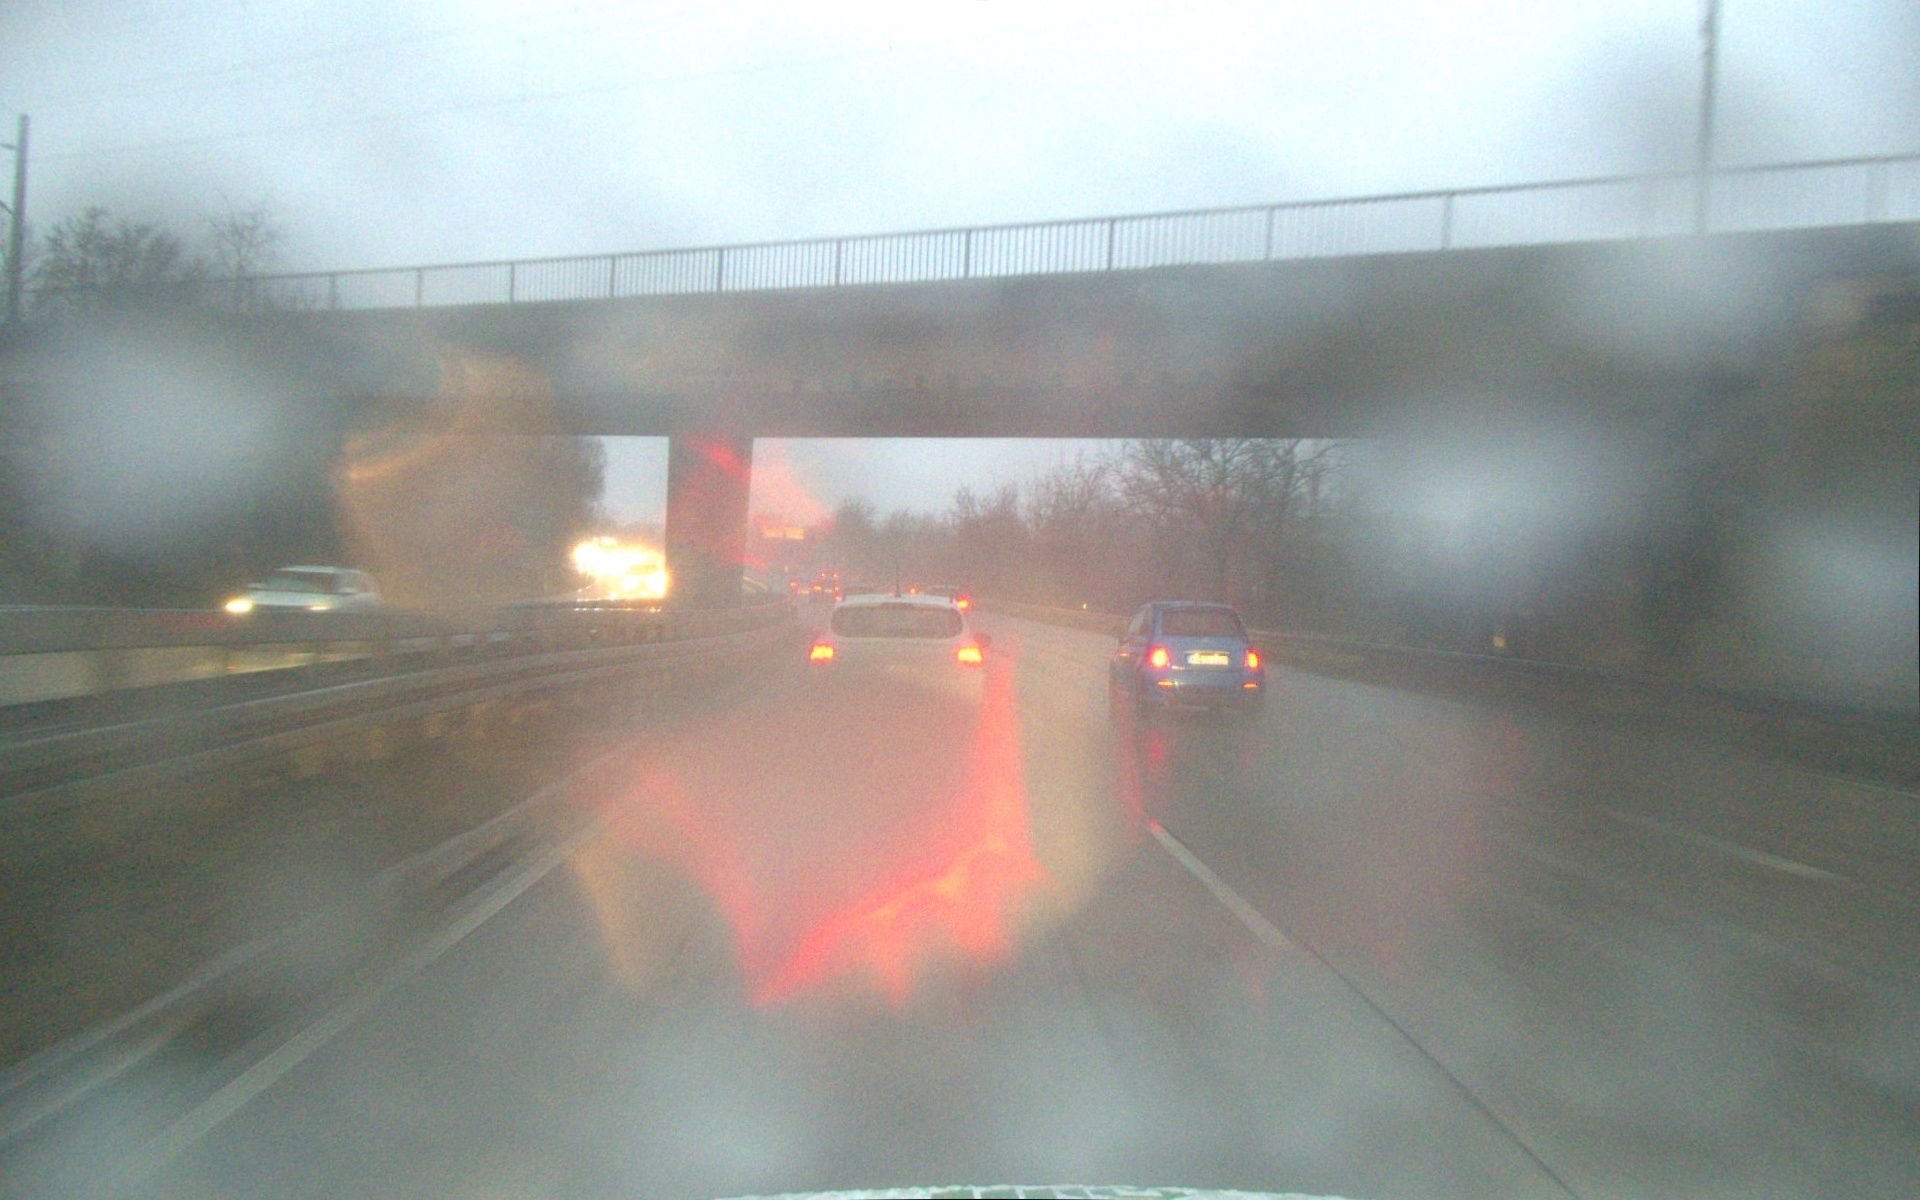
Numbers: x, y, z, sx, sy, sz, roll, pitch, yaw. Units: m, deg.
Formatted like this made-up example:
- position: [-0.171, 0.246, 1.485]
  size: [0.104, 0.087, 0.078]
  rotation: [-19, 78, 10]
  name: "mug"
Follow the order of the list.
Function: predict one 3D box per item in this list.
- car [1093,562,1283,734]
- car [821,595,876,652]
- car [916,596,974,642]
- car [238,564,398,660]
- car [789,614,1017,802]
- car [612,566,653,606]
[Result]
- position: [3.015, 0.637, 22.622]
  size: [1.894, 2.055, 3.771]
  rotation: [3, -1, -2]
  name: "car"
- position: [-4.283, 0.918, 63.805]
  size: [1.954, 2.049, 3.997]
  rotation: [3, -1, -4]
  name: "car"
- position: [-0.637, 0.789, 66.296]
  size: [1.896, 1.573, 3.767]
  rotation: [-3, -3, -6]
  name: "car"
- position: [-12.407, 0.221, 32.237]
  size: [1.550, 1.699, 4.293]
  rotation: [2, 0, -3]
  name: "car"
- position: [-0.515, 1.010, 16.928]
  size: [1.983, 1.602, 3.999]
  rotation: [3, -1, 0]
  name: "car"
- position: [-22.126, -0.932, 111.919]
  size: [2.104, 2.511, 5.134]
  rotation: [3, -1, -6]
  name: "car"
